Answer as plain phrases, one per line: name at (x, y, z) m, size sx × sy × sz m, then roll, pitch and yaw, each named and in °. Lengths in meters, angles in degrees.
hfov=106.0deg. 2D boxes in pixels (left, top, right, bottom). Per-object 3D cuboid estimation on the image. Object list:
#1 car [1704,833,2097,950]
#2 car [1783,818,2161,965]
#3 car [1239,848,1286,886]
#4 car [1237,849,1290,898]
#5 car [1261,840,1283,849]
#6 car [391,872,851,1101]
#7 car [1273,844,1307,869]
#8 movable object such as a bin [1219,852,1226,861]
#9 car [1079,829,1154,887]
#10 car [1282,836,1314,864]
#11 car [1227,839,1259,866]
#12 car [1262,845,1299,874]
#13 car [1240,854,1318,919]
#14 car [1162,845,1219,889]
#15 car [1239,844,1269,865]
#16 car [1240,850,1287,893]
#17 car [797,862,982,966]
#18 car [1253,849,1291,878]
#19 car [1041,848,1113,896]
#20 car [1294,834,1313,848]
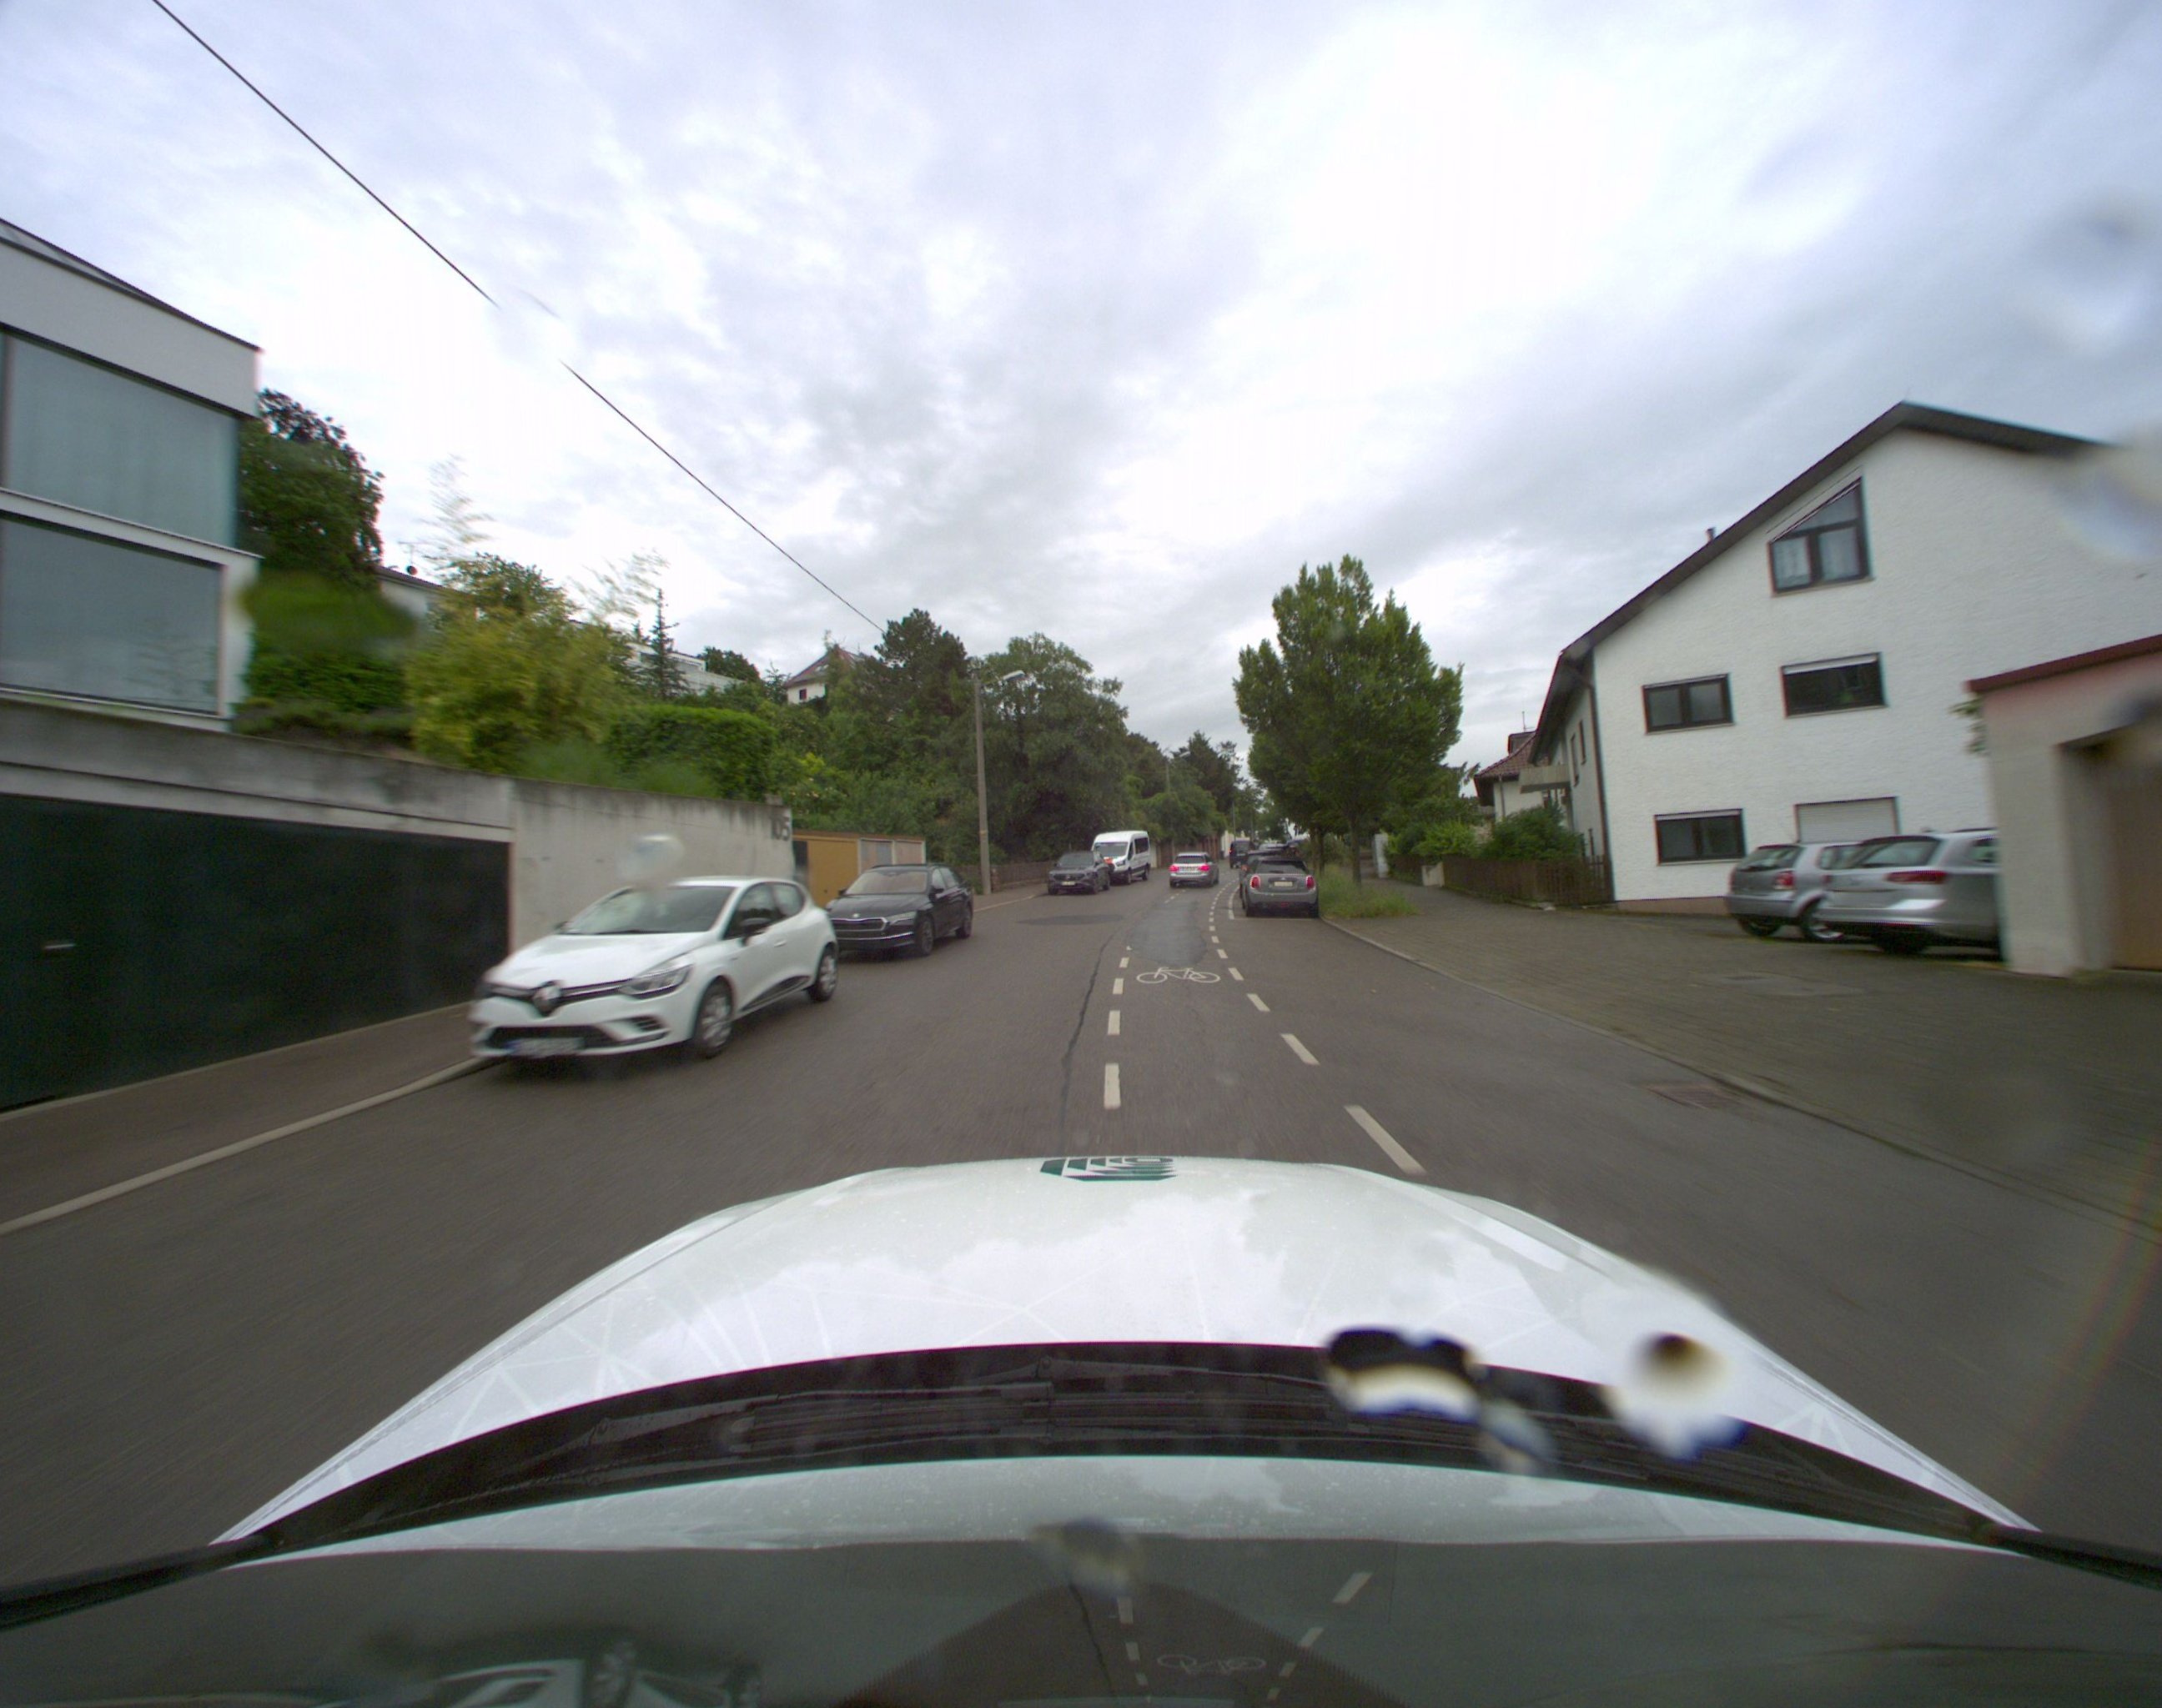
car at (11.584, 0.490, 11.795) m, size 3.657 × 1.465 × 1.784 m, roll 1°, pitch -1°, yaw 10°
car at (10.918, 0.411, 9.102) m, size 4.277 × 1.465 × 1.940 m, roll 0°, pitch -2°, yaw 9°
car at (8.152, 0.536, 36.295) m, size 1.762 × 1.553 × 4.748 m, roll 0°, pitch 1°, yaw 16°
car at (6.122, 0.616, 27.450) m, size 1.616 × 1.562 × 3.032 m, roll -1°, pitch 0°, yaw 11°
car at (39.862, -1.943, 170.129) m, size 1.978 × 1.697 × 4.450 m, roll -1°, pitch 1°, yaw -33°
car at (-3.771, 0.965, 7.671) m, size 1.825 × 1.440 × 4.043 m, roll -2°, pitch 0°, yaw 3°
car at (13.435, 0.126, 52.168) m, size 1.634 × 1.481 × 4.041 m, roll -1°, pitch 1°, yaw 21°
movable object such as a bin at (15.152, 0.245, 87.333) m, size 0.653 × 0.919 × 0.680 m, roll -2°, pitch 0°, yaw 19°
car at (1.863, 0.138, 39.852) m, size 2.078 × 2.550 × 6.125 m, roll -2°, pitch 0°, yaw 17°
car at (15.267, -0.298, 57.067) m, size 1.763 × 1.852 × 4.447 m, roll -1°, pitch 1°, yaw 20°
car at (10.901, -0.096, 54.909) m, size 1.981 × 1.708 × 4.012 m, roll -1°, pitch 0°, yaw 11°
car at (11.592, 0.261, 47.232) m, size 1.700 × 1.556 × 4.184 m, roll 0°, pitch 1°, yaw 19°
car at (4.904, 0.738, 20.564) m, size 1.658 × 1.471 × 3.720 m, roll 0°, pitch 0°, yaw 10°
car at (4.772, 0.536, 35.057) m, size 2.011 × 1.708 × 4.230 m, roll -1°, pitch 0°, yaw 13°
car at (14.657, 0.021, 68.894) m, size 1.977 × 1.708 × 4.018 m, roll -1°, pitch 0°, yaw 18°
car at (6.963, 0.633, 31.206) m, size 1.643 × 1.519 × 4.013 m, roll -1°, pitch 0°, yaw 12°
car at (-3.134, 0.919, 14.436) m, size 1.704 × 1.459 × 4.690 m, roll -2°, pitch 0°, yaw 6°
car at (10.043, 0.451, 42.654) m, size 1.630 × 1.424 × 4.307 m, roll 0°, pitch 1°, yaw 17°
car at (-0.069, 0.668, 32.372) m, size 1.883 × 1.691 × 4.560 m, roll -3°, pitch 0°, yaw 11°
car at (43.342, -2.531, 158.730) m, size 2.124 × 2.526 × 4.484 m, roll -1°, pitch 1°, yaw -8°
